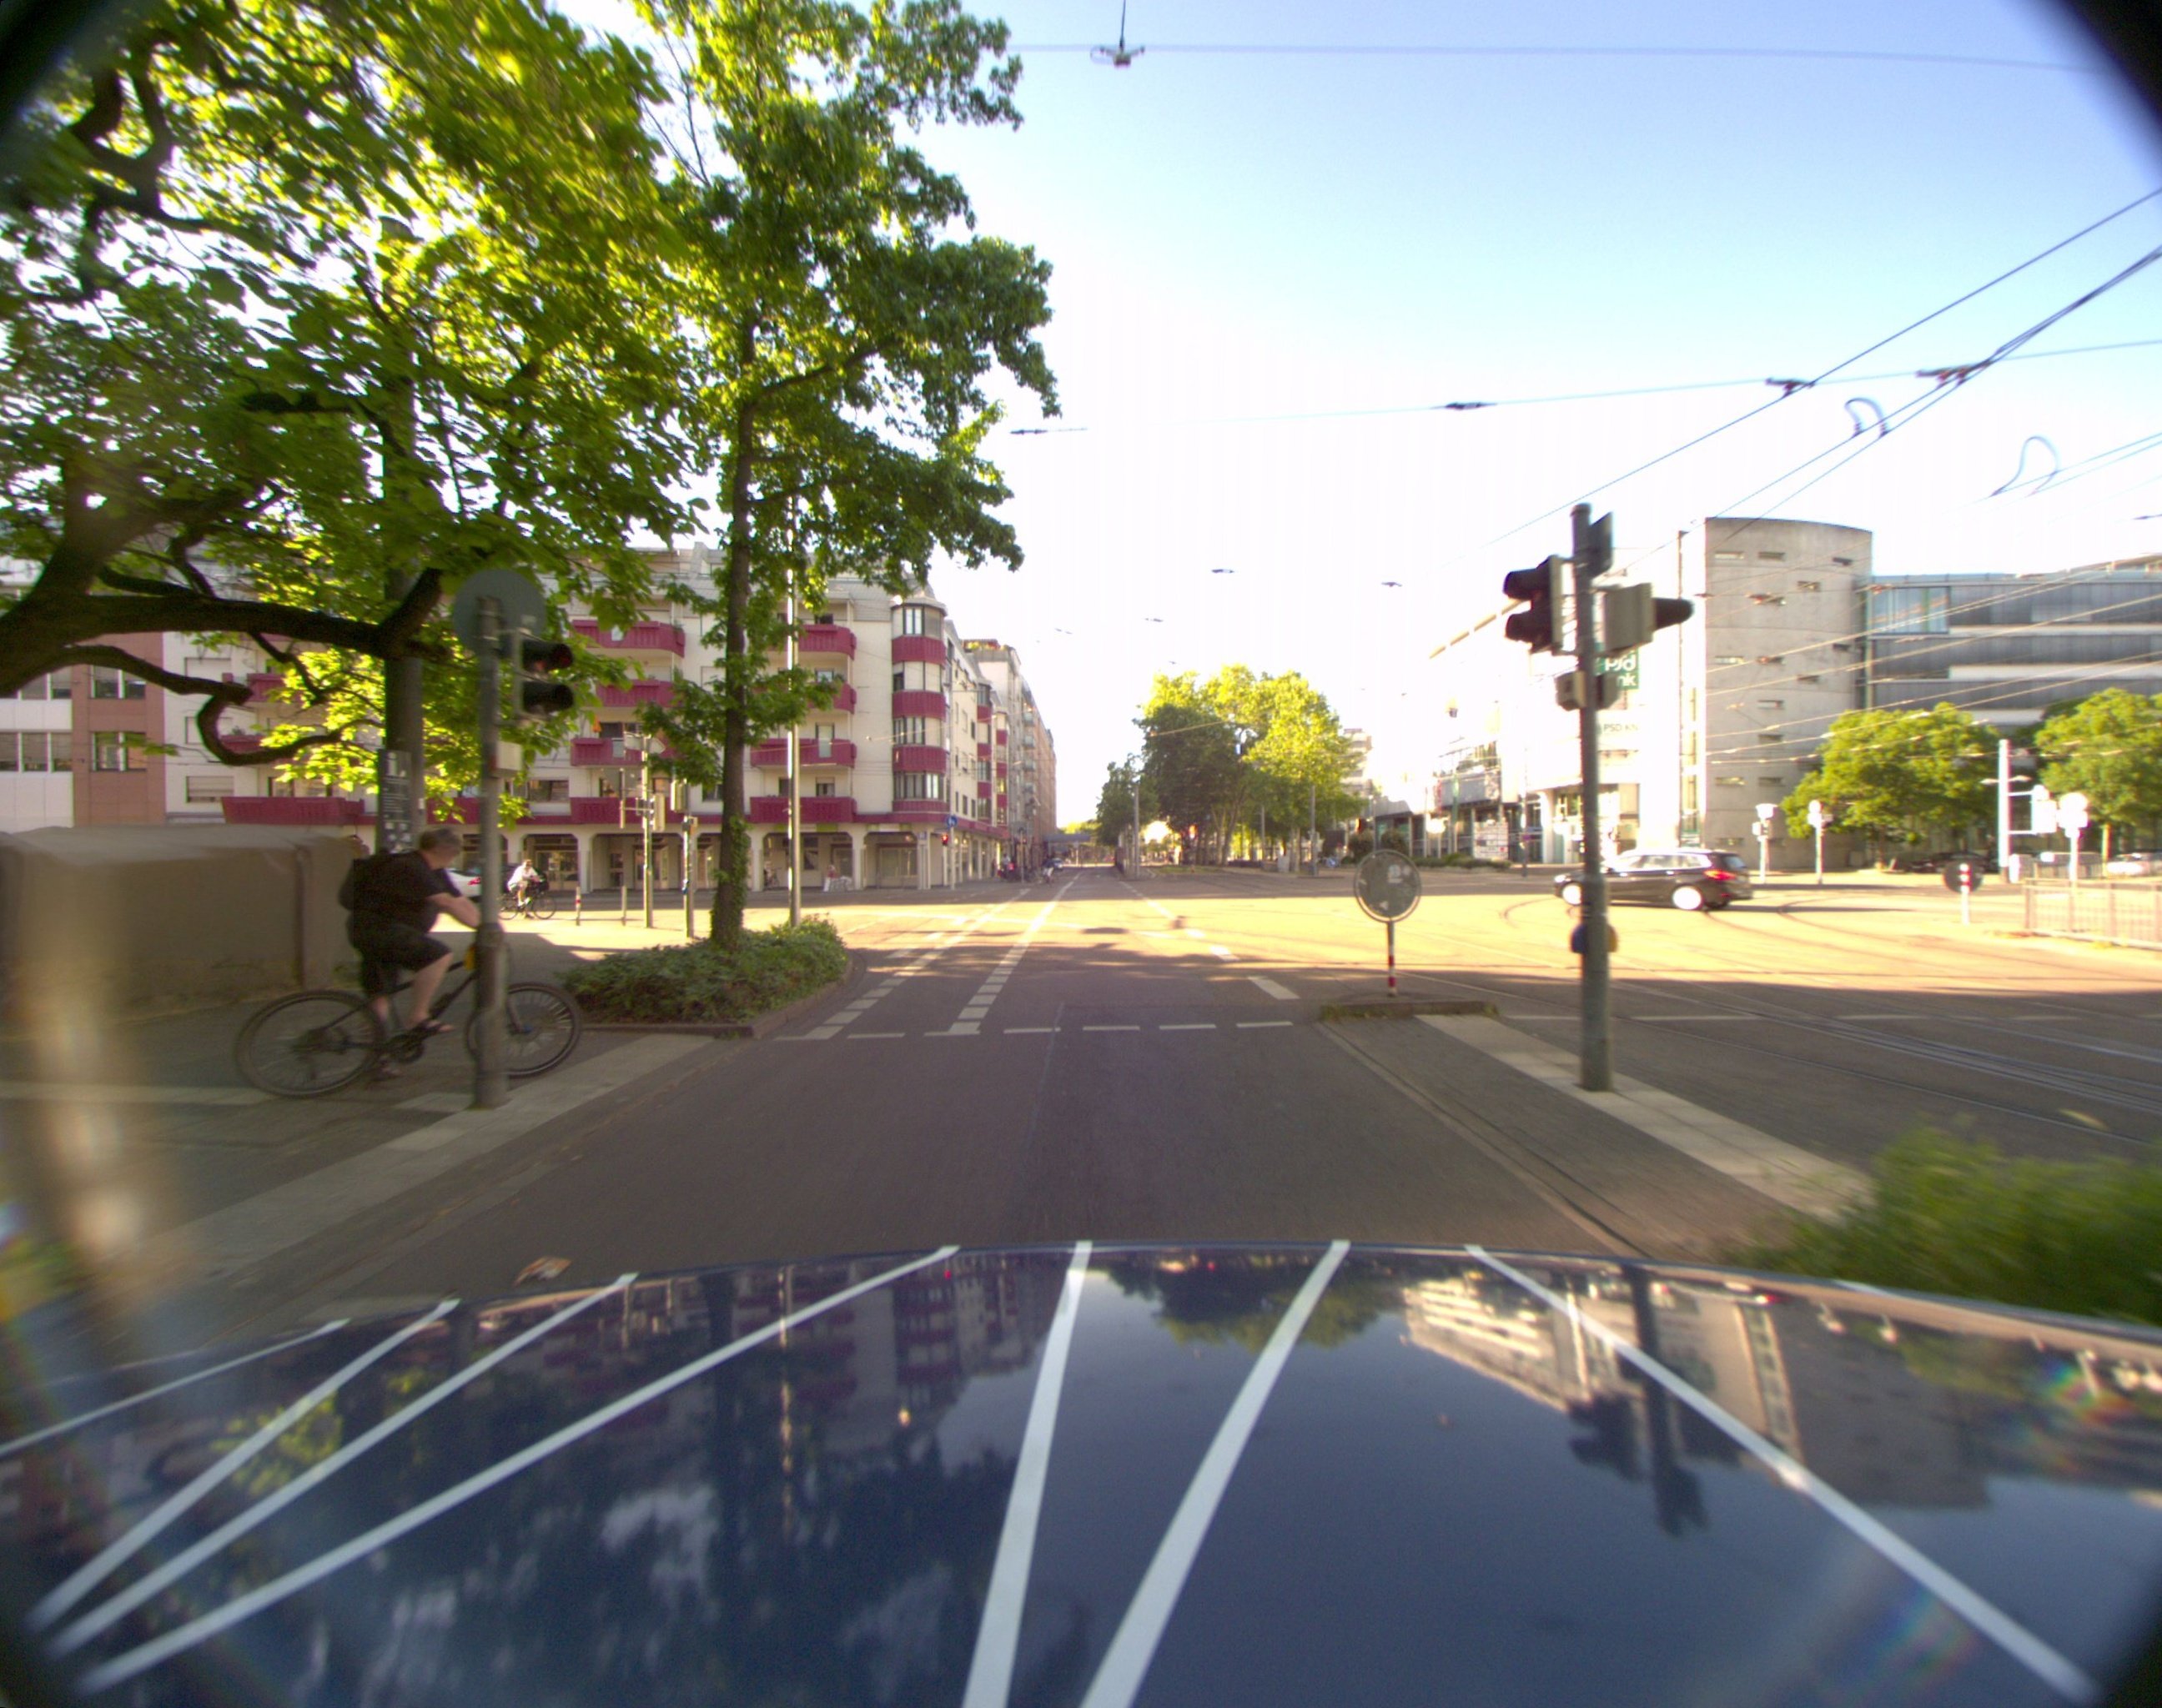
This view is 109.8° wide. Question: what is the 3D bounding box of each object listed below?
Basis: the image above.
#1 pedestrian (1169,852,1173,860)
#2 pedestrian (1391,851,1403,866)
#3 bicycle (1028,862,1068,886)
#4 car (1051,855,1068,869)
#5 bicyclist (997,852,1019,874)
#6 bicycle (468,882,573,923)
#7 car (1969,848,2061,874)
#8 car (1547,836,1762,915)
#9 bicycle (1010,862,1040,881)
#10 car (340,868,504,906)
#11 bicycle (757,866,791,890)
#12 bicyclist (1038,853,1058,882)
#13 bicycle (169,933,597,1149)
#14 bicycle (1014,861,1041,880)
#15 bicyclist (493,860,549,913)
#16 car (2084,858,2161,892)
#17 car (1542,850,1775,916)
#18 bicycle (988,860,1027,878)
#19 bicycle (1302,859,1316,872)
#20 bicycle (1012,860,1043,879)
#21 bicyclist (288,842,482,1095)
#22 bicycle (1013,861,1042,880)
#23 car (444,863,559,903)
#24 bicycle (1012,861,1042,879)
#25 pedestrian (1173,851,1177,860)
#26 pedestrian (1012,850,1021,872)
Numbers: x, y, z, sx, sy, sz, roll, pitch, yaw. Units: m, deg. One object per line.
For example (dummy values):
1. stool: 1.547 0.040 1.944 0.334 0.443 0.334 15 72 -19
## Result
1. pedestrian: 18.186 0.407 153.996 0.686 1.686 0.699 -1 0 -6
2. pedestrian: 32.272 0.467 77.588 0.908 1.583 0.767 0 0 1
3. bicycle: -1.728 1.037 39.737 2.044 1.182 0.590 -1 1 -15
4. car: -2.657 0.978 95.631 1.837 1.613 4.285 2 0 3
5. bicyclist: -4.960 0.605 51.828 1.081 1.531 1.057 -1 1 -44
6. bicycle: -16.366 1.393 22.231 2.331 1.112 0.845 0 0 -10
7. car: 62.068 0.470 50.521 3.950 1.644 1.735 -1 1 1
8. car: 15.641 0.557 20.904 2.004 1.936 4.412 0 0 -41
9. bicycle: -3.514 1.091 47.907 1.805 1.193 0.546 0 2 6
10. car: -27.120 1.333 31.410 4.899 1.447 1.854 0 0 -7
11. bicycle: -15.627 1.218 38.635 1.793 1.192 0.617 0 1 29
12. bicyclist: -1.742 0.695 39.733 0.882 1.485 0.722 -1 1 -15
13. bicycle: -4.424 1.143 5.026 1.953 1.064 0.640 -1 1 -23
14. bicycle: -3.417 1.082 48.648 1.626 1.192 0.496 0 1 6
15. bicyclist: -16.366 0.934 22.231 0.928 1.500 1.011 -1 0 -9
16. car: 55.775 1.060 39.799 3.969 1.687 2.107 0 0 -5
17. car: 15.815 0.720 21.131 2.003 1.607 4.744 0 0 -28
18. bicycle: -4.982 1.031 51.816 2.603 1.176 0.960 0 0 -44
19. bicycle: 17.661 0.872 58.884 0.814 0.940 1.727 0 0 8
20. bicycle: -3.517 1.013 50.110 1.982 1.192 0.591 0 1 -3
21. bicyclist: -4.505 0.680 4.986 0.703 1.501 0.750 -1 0 -23
22. bicycle: -3.446 1.088 49.221 1.835 1.213 0.496 0 0 5
23. car: -26.696 1.301 35.088 3.905 1.674 1.738 -1 1 -1
24. bicycle: -3.579 1.081 50.726 1.945 1.163 0.572 0 1 -1
25. pedestrian: 18.949 0.264 153.858 0.656 1.744 0.676 -1 0 -6
26. pedestrian: -5.464 0.602 64.485 0.724 1.847 0.801 0 0 1
